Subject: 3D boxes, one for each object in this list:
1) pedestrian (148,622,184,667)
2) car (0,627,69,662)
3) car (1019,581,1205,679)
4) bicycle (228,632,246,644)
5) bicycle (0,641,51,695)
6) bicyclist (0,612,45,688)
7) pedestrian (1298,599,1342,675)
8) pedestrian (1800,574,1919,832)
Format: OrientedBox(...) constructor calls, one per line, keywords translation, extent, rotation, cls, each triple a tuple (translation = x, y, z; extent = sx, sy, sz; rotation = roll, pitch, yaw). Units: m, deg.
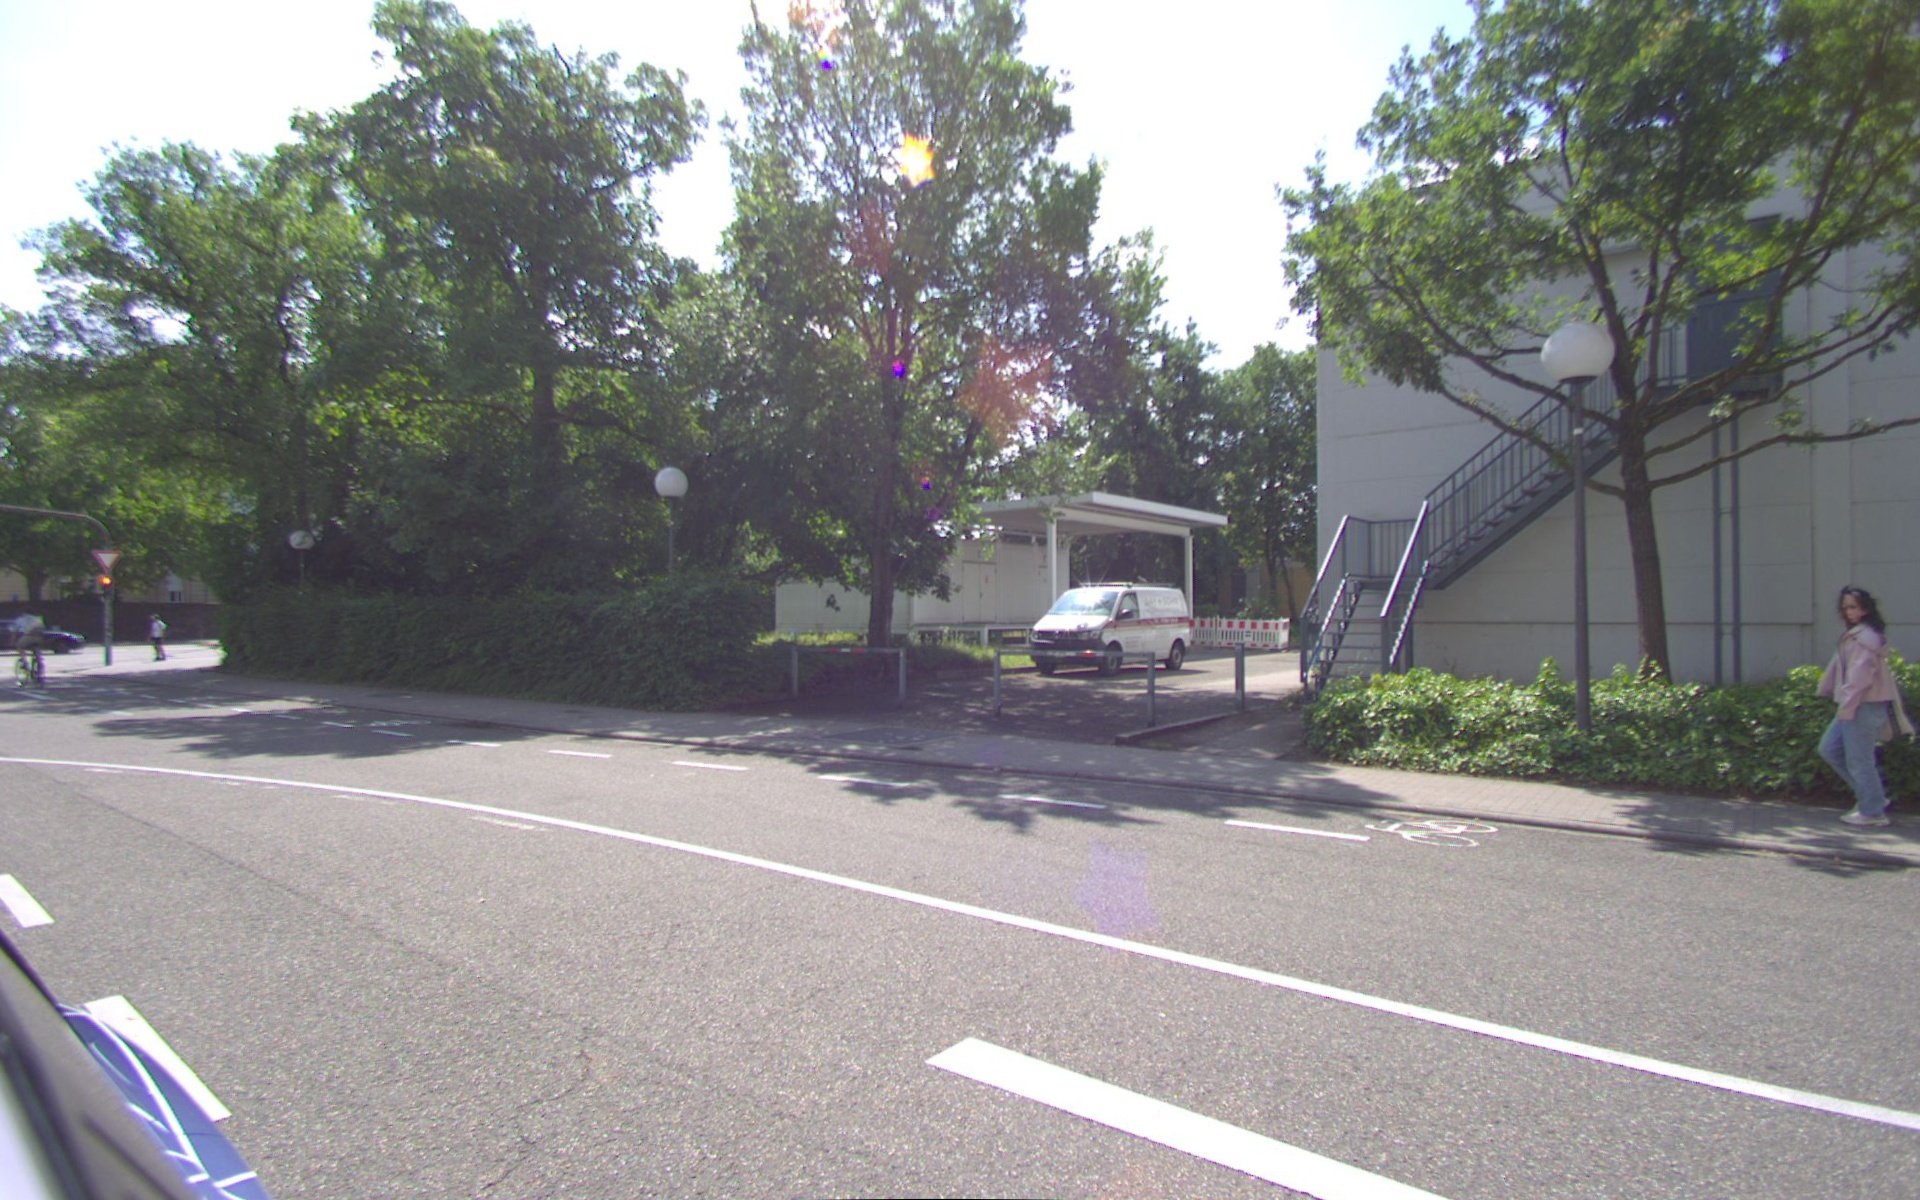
OrientedBox(translation=(-30.232, 1.693, 38.533), extent=(0.854, 1.714, 0.918), rotation=(-3, -3, 42), cls="pedestrian")
OrientedBox(translation=(-40.361, 1.864, 42.646), extent=(4.128, 1.426, 1.832), rotation=(1, -2, -44), cls="car")
OrientedBox(translation=(3.604, 0.635, 23.288), extent=(1.999, 2.001, 4.870), rotation=(0, 0, 40), cls="car")
OrientedBox(translation=(-47.056, 2.477, 65.884), extent=(0.998, 0.687, 0.407), rotation=(1, 0, 14), cls="bicycle")
OrientedBox(translation=(-22.102, 1.579, 23.801), extent=(2.206, 1.180, 0.686), rotation=(-1, -1, 38), cls="bicycle")
OrientedBox(translation=(-22.133, 1.156, 23.836), extent=(0.917, 1.750, 0.686), rotation=(-1, -1, 38), cls="bicyclist")
OrientedBox(translation=(8.081, 0.821, 22.727), extent=(0.665, 1.660, 0.758), rotation=(-2, -2, 41), cls="pedestrian")
OrientedBox(translation=(6.252, 0.661, 6.784), extent=(0.882, 1.639, 0.706), rotation=(-1, -1, 37), cls="pedestrian")
